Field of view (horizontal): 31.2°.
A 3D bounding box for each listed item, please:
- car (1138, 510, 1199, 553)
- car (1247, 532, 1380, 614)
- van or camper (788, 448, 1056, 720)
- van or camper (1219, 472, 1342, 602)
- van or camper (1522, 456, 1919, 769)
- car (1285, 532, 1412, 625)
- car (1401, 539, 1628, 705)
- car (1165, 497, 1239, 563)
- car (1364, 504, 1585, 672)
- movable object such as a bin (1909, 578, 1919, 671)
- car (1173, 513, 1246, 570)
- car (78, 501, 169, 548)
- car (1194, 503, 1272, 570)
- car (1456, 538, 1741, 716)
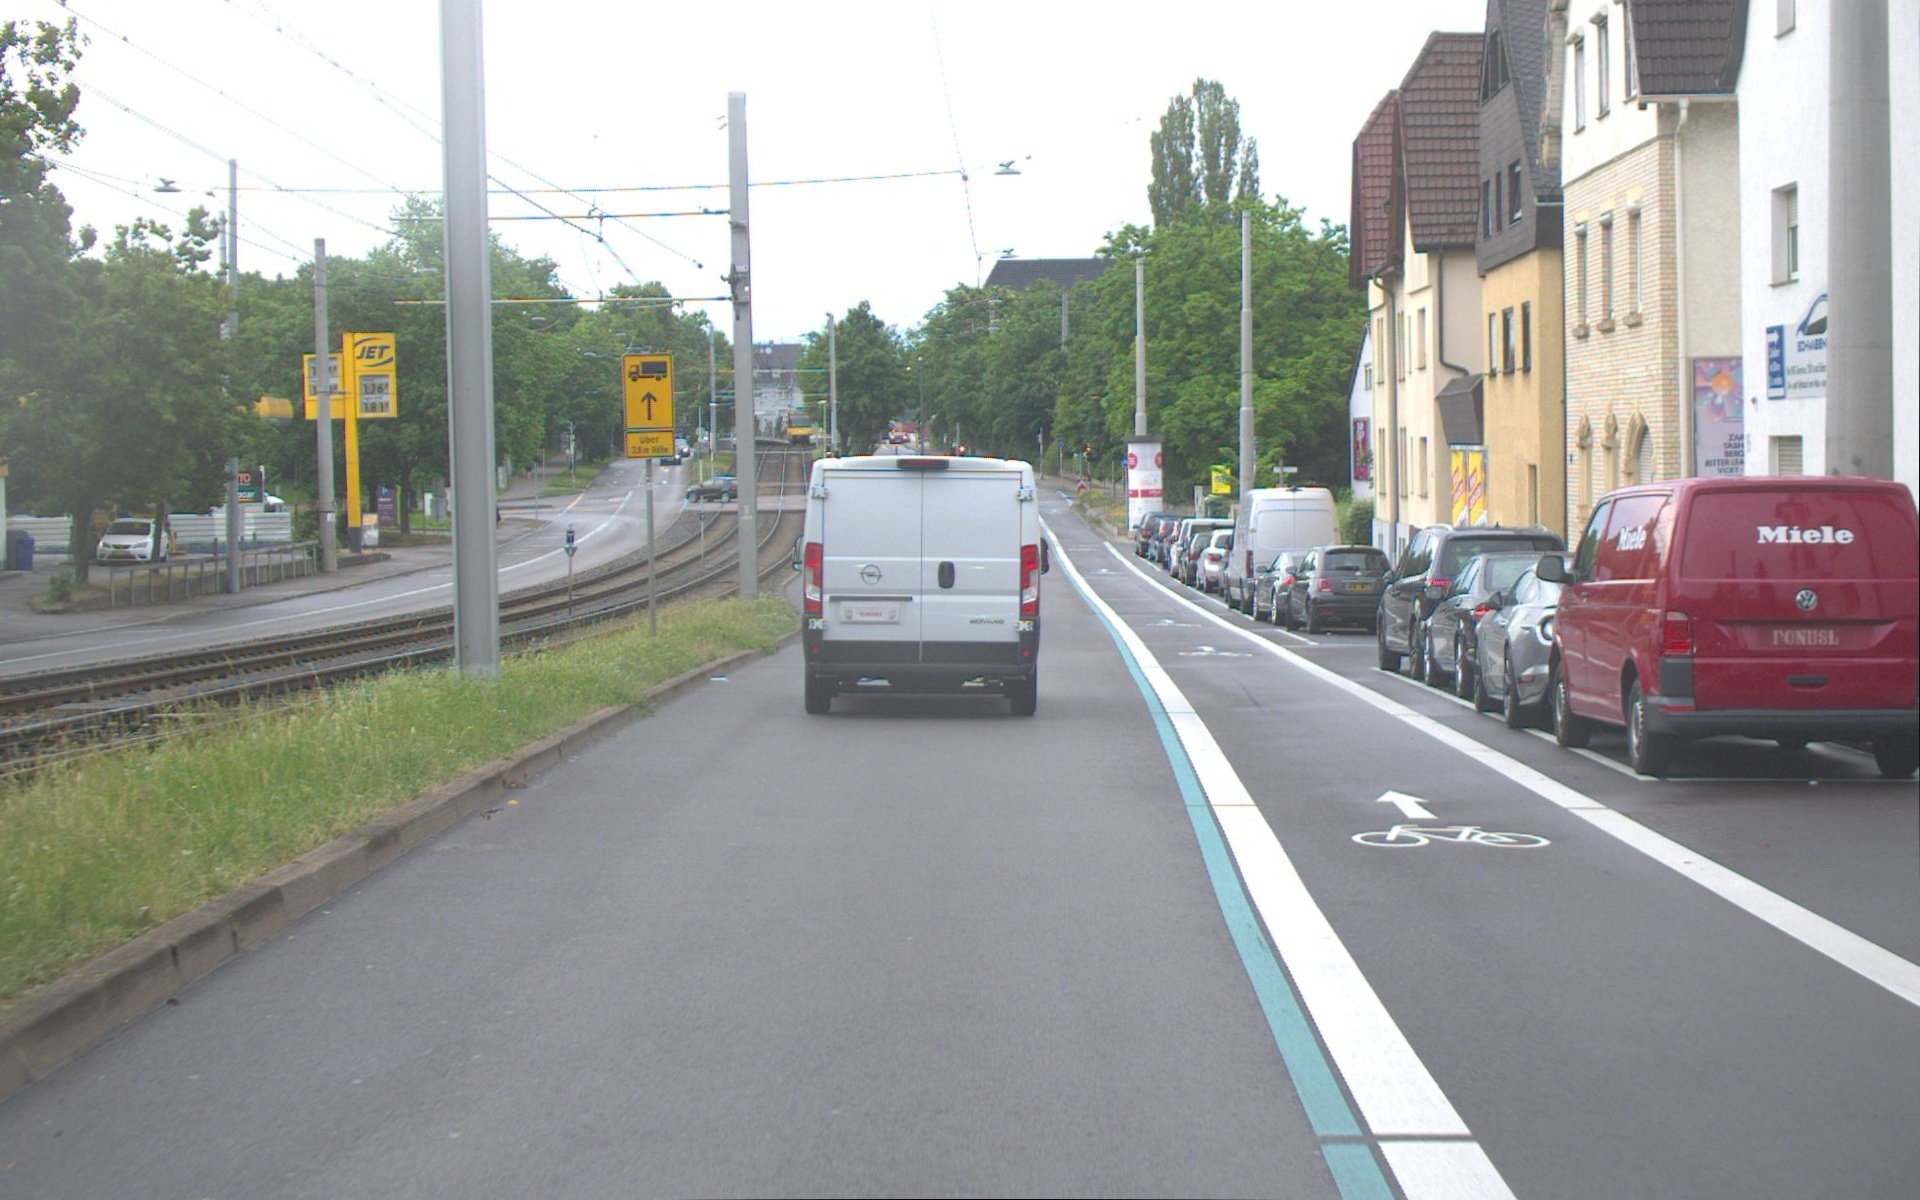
[{"bbox_3d":[7.410,-2.440,122.290,1.847,1.494,3.955,0,2,-1],"label":"car"},{"bbox_3d":[6.621,-0.539,64.801,1.788,1.401,4.554,1,2,-3],"label":"car"},{"bbox_3d":[-0.437,-0.182,31.181,2.198,2.245,4.685,1,1,-3],"label":"van or camper"},{"bbox_3d":[6.649,-1.376,71.976,1.993,2.554,6.043,1,2,0],"label":"van or camper"},{"bbox_3d":[5.223,0.021,23.920,1.851,1.913,4.995,-1,1,1],"label":"van or camper"},{"bbox_3d":[6.616,-0.387,58.806,1.565,1.493,3.513,1,1,-3],"label":"car"},{"bbox_3d":[5.606,0.173,35.177,1.634,1.533,4.136,1,1,0],"label":"car"},{"bbox_3d":[6.929,-2.033,98.792,1.747,1.801,3.955,0,2,-1],"label":"car"},{"bbox_3d":[5.900,-0.190,39.923,1.839,1.794,4.687,1,1,0],"label":"car"},{"bbox_3d":[9.434,0.226,32.873,0.586,0.876,0.448,-1,1,0],"label":"movable object such as a bin"},{"bbox_3d":[6.747,-1.613,93.235,1.646,1.441,3.955,1,2,0],"label":"car"},{"bbox_3d":[-26.410,-2.379,108.654,1.993,1.437,4.001,1,1,-2],"label":"car"},{"bbox_3d":[6.935,-1.635,87.605,1.646,1.609,4.105,1,2,0],"label":"car"},{"bbox_3d":[5.374,0.173,29.445,1.796,1.371,4.670,0,1,3],"label":"car"}]
